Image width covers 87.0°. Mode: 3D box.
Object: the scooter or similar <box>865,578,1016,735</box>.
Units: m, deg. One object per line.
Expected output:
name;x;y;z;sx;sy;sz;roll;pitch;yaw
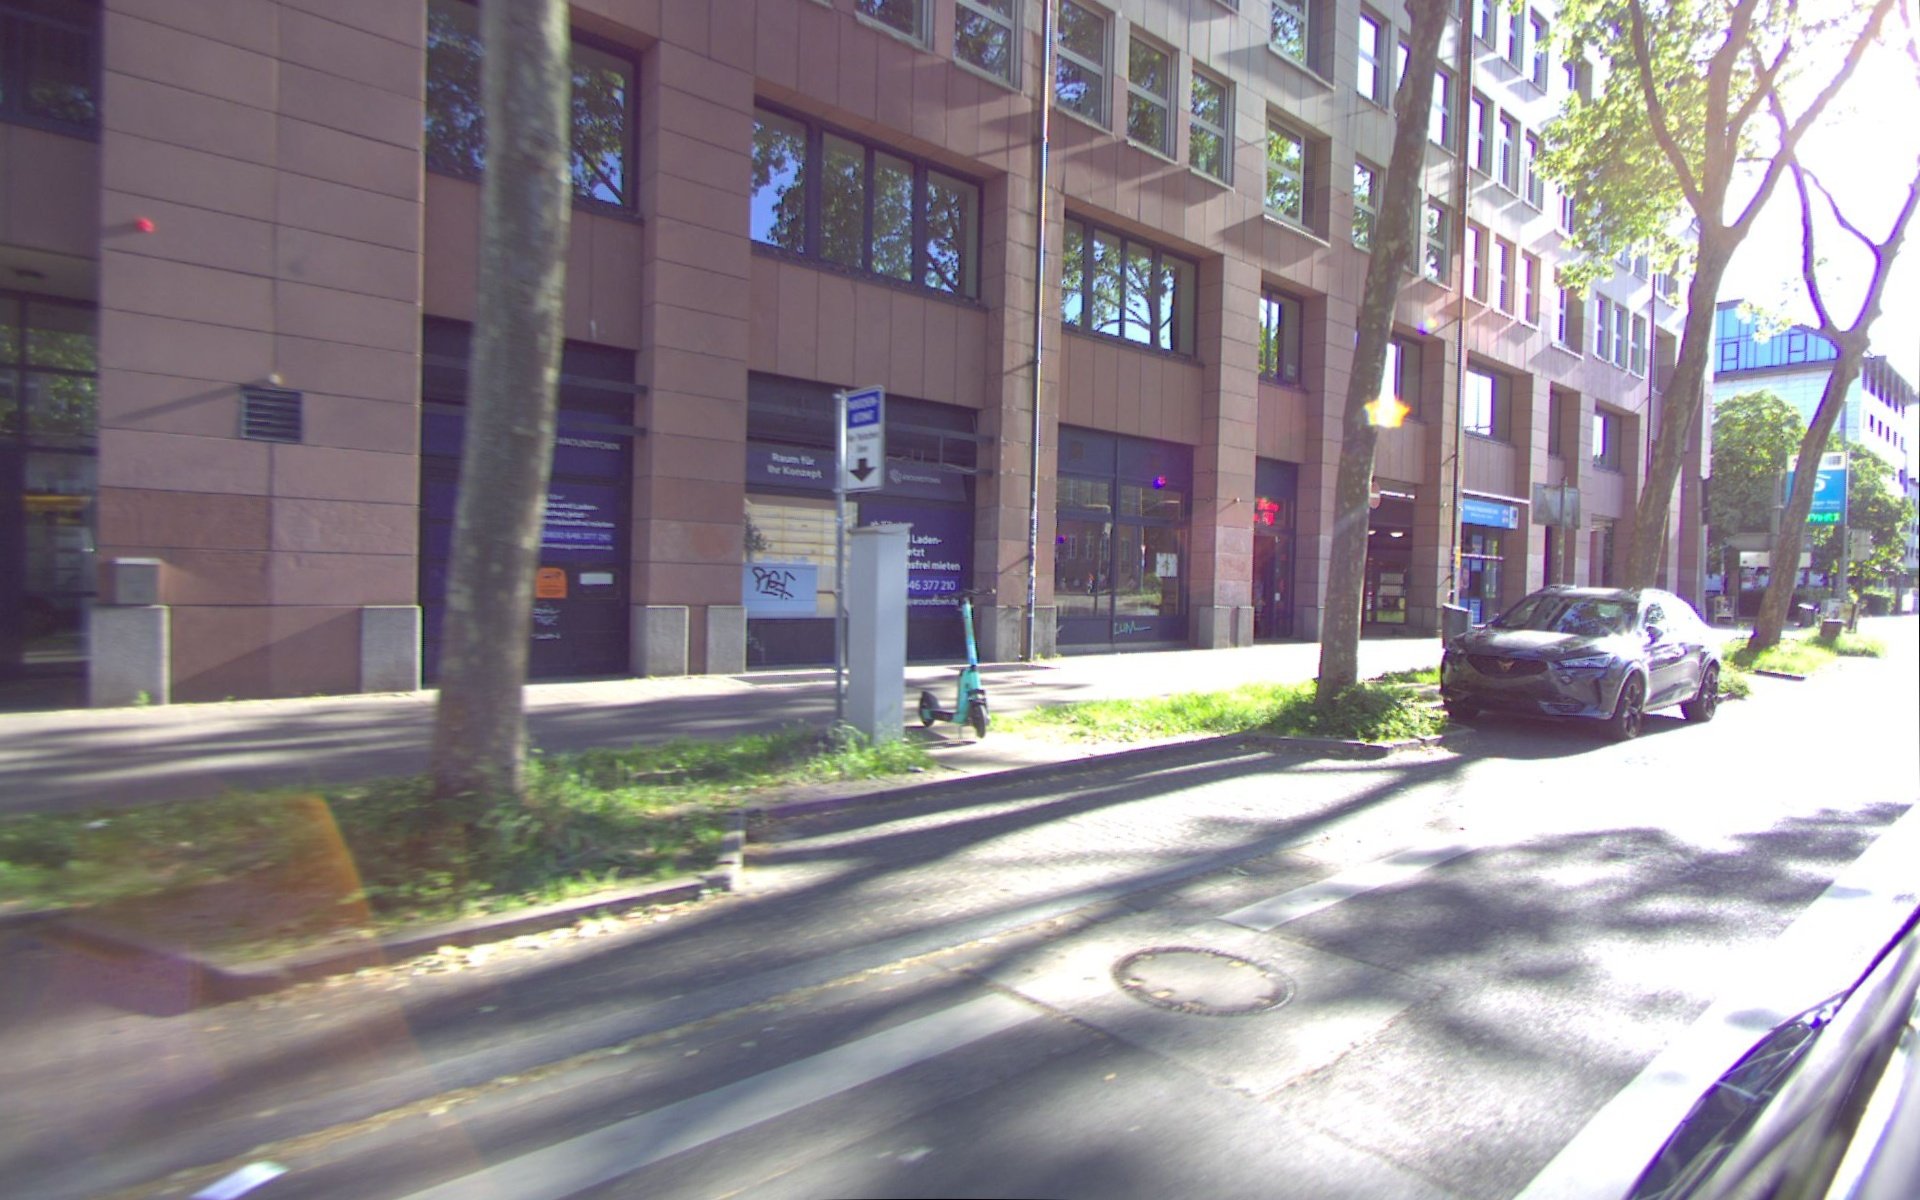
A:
scooter or similar;-0.206;0.443;8.895;0.441;1.253;1.544;1;0;-39

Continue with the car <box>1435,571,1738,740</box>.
car;7.247;0.493;11.549;4.203;1.590;1.671;-1;0;-39
